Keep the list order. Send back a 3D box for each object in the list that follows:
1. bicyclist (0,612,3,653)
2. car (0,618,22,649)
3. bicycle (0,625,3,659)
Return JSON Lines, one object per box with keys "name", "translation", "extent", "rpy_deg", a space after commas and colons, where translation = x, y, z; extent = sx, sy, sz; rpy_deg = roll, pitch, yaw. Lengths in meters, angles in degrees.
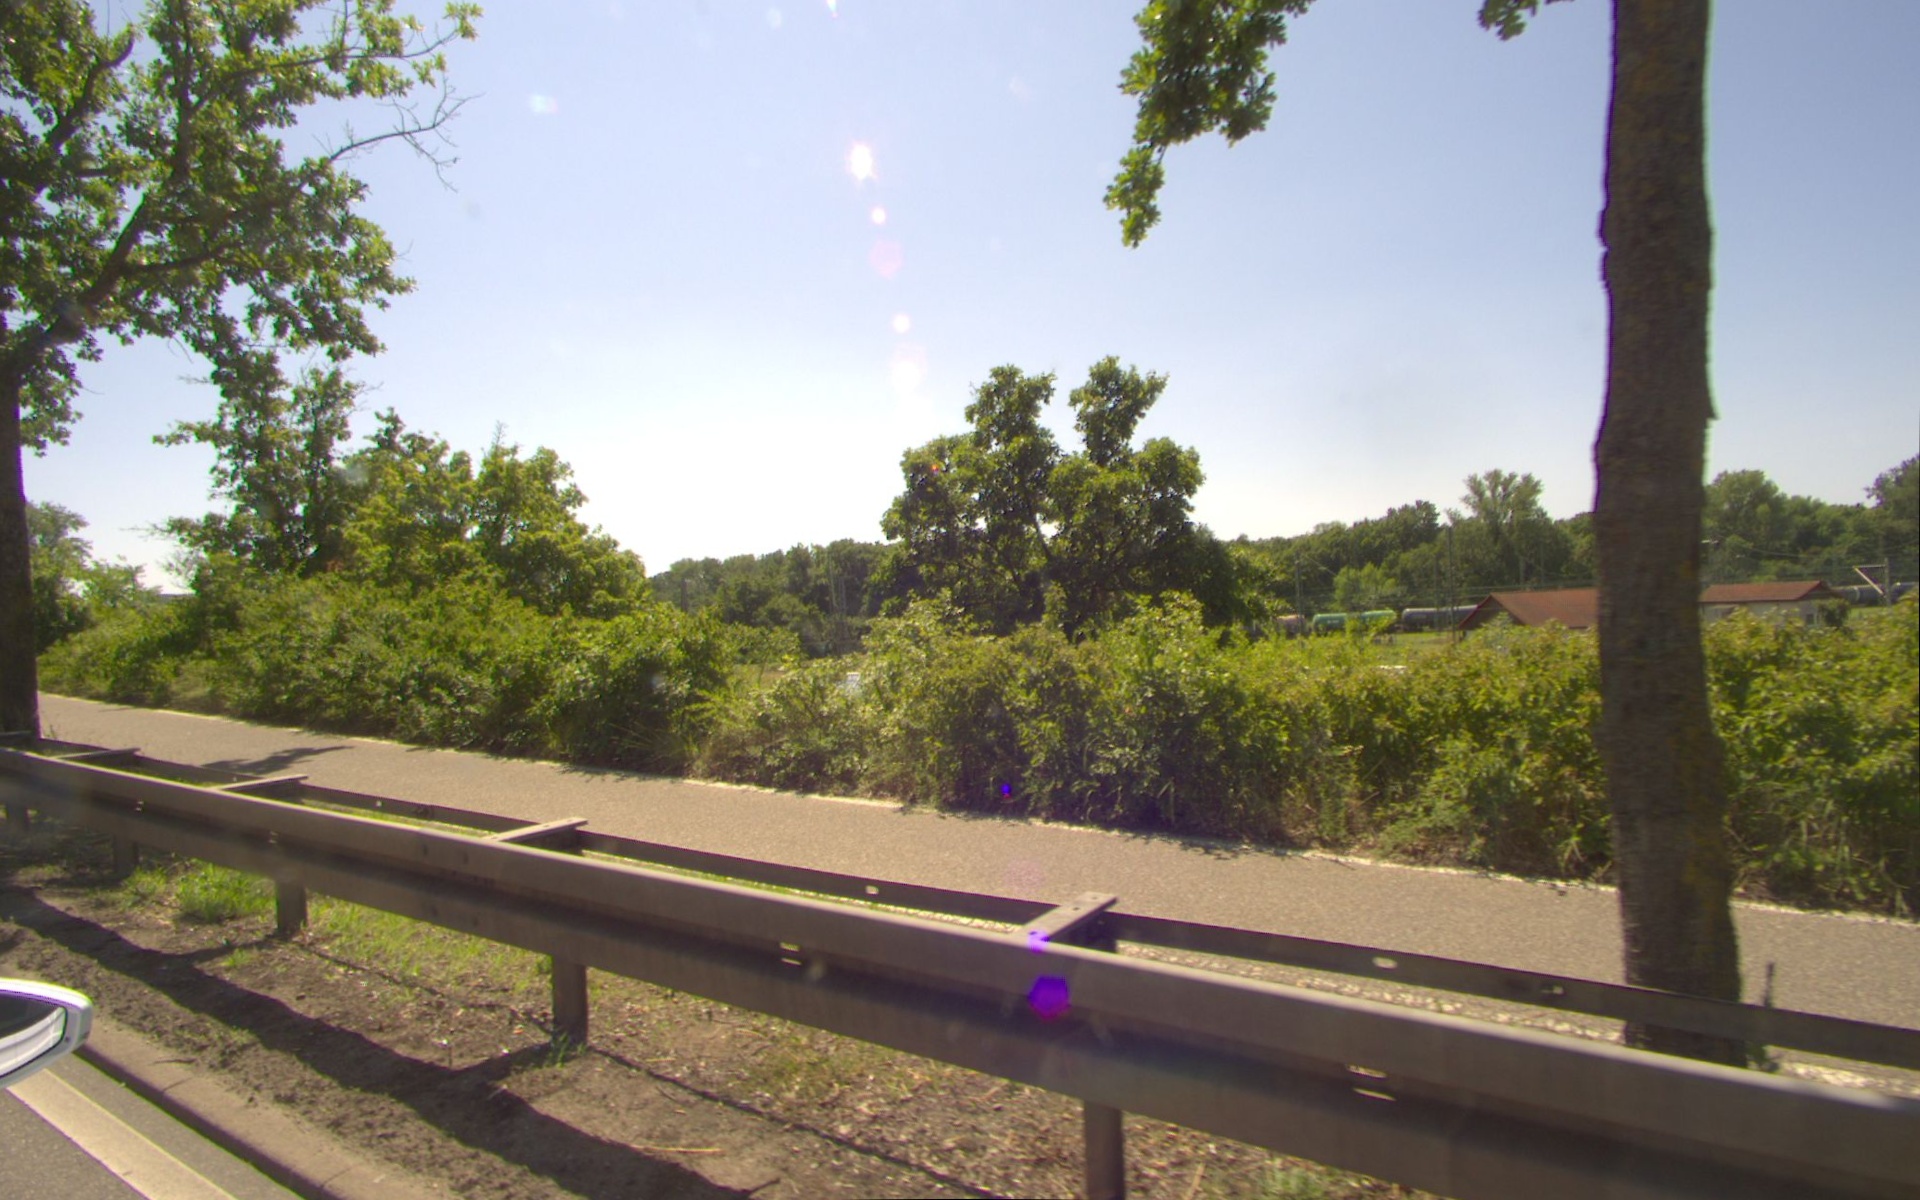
{"name": "bicyclist", "translation": [-36.536, 1.225, 37.574], "extent": [0.970, 1.543, 0.855], "rpy_deg": [-1, -2, 45]}
{"name": "car", "translation": [-56.437, 1.936, 58.183], "extent": [1.973, 1.739, 4.840], "rpy_deg": [1, -2, -33]}
{"name": "bicycle", "translation": [-36.550, 1.559, 37.569], "extent": [0.855, 1.252, 2.287], "rpy_deg": [1, -2, -45]}
